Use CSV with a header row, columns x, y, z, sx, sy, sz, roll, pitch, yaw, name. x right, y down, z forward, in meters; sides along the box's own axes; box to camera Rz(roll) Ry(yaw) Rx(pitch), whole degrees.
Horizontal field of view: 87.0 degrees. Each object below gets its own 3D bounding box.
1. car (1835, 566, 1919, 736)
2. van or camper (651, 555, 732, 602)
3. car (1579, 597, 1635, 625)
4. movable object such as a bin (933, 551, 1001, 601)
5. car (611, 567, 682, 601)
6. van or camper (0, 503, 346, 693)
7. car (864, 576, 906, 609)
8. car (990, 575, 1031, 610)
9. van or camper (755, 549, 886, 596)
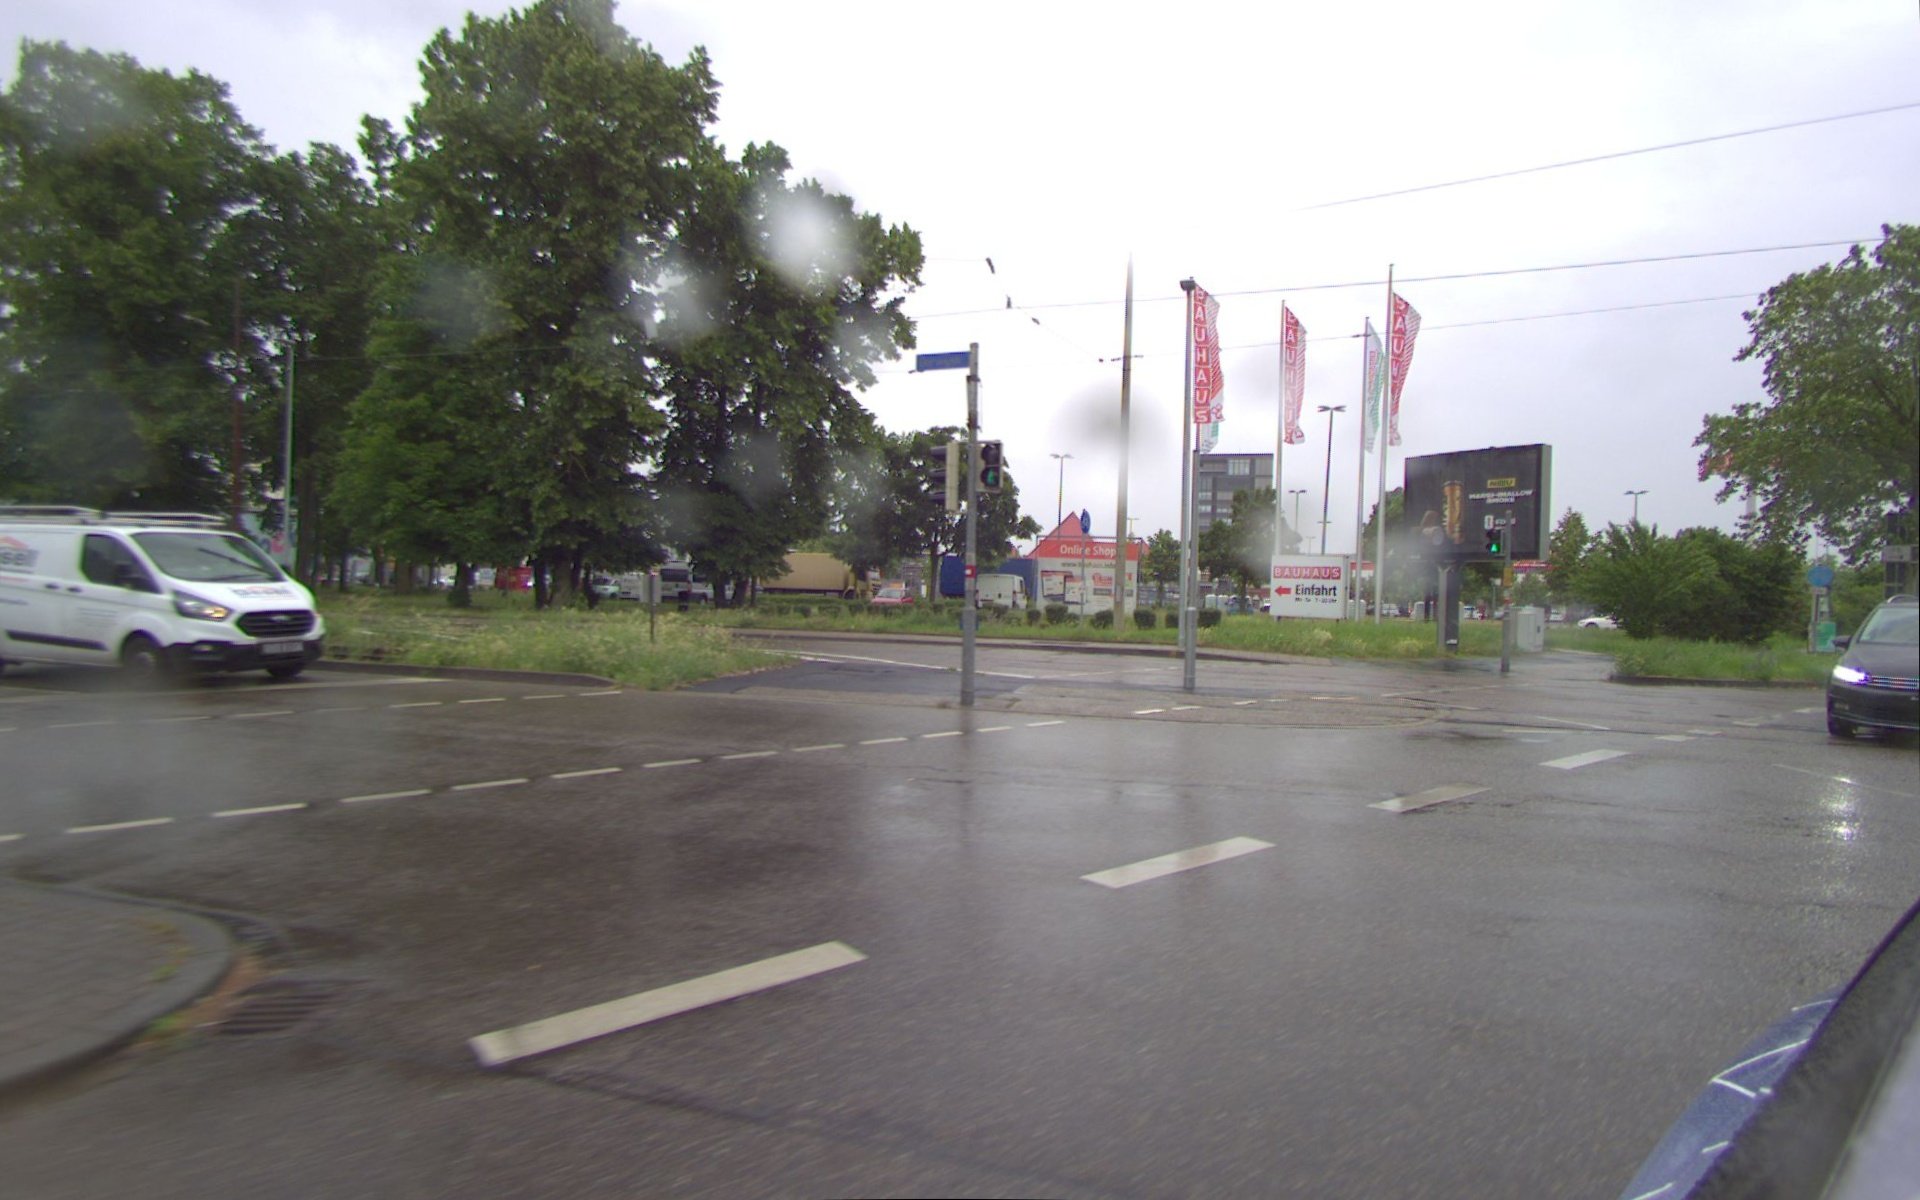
x,y,z,sx,sy,sz,roll,pitch,yaw,name
11.703,0.565,11.569,4.115,1.747,1.861,1,2,-39,car
-14.054,-1.133,53.295,2.104,2.328,4.444,2,1,16,van or camper
39.986,0.676,62.535,3.930,1.639,1.821,0,1,-41,car
0.495,-1.597,68.189,4.191,3.326,2.317,0,0,15,movable object such as a bin
-16.926,-0.865,54.822,1.841,1.749,3.947,2,1,16,car
-10.613,-0.097,12.925,4.835,2.114,1.860,2,1,14,van or camper
-3.768,-0.408,51.466,1.961,1.593,4.002,1,1,-2,car
2.446,-0.386,49.948,1.858,1.593,3.737,1,1,1,car
-9.954,-1.882,72.243,8.855,3.197,2.972,0,0,17,van or camper
